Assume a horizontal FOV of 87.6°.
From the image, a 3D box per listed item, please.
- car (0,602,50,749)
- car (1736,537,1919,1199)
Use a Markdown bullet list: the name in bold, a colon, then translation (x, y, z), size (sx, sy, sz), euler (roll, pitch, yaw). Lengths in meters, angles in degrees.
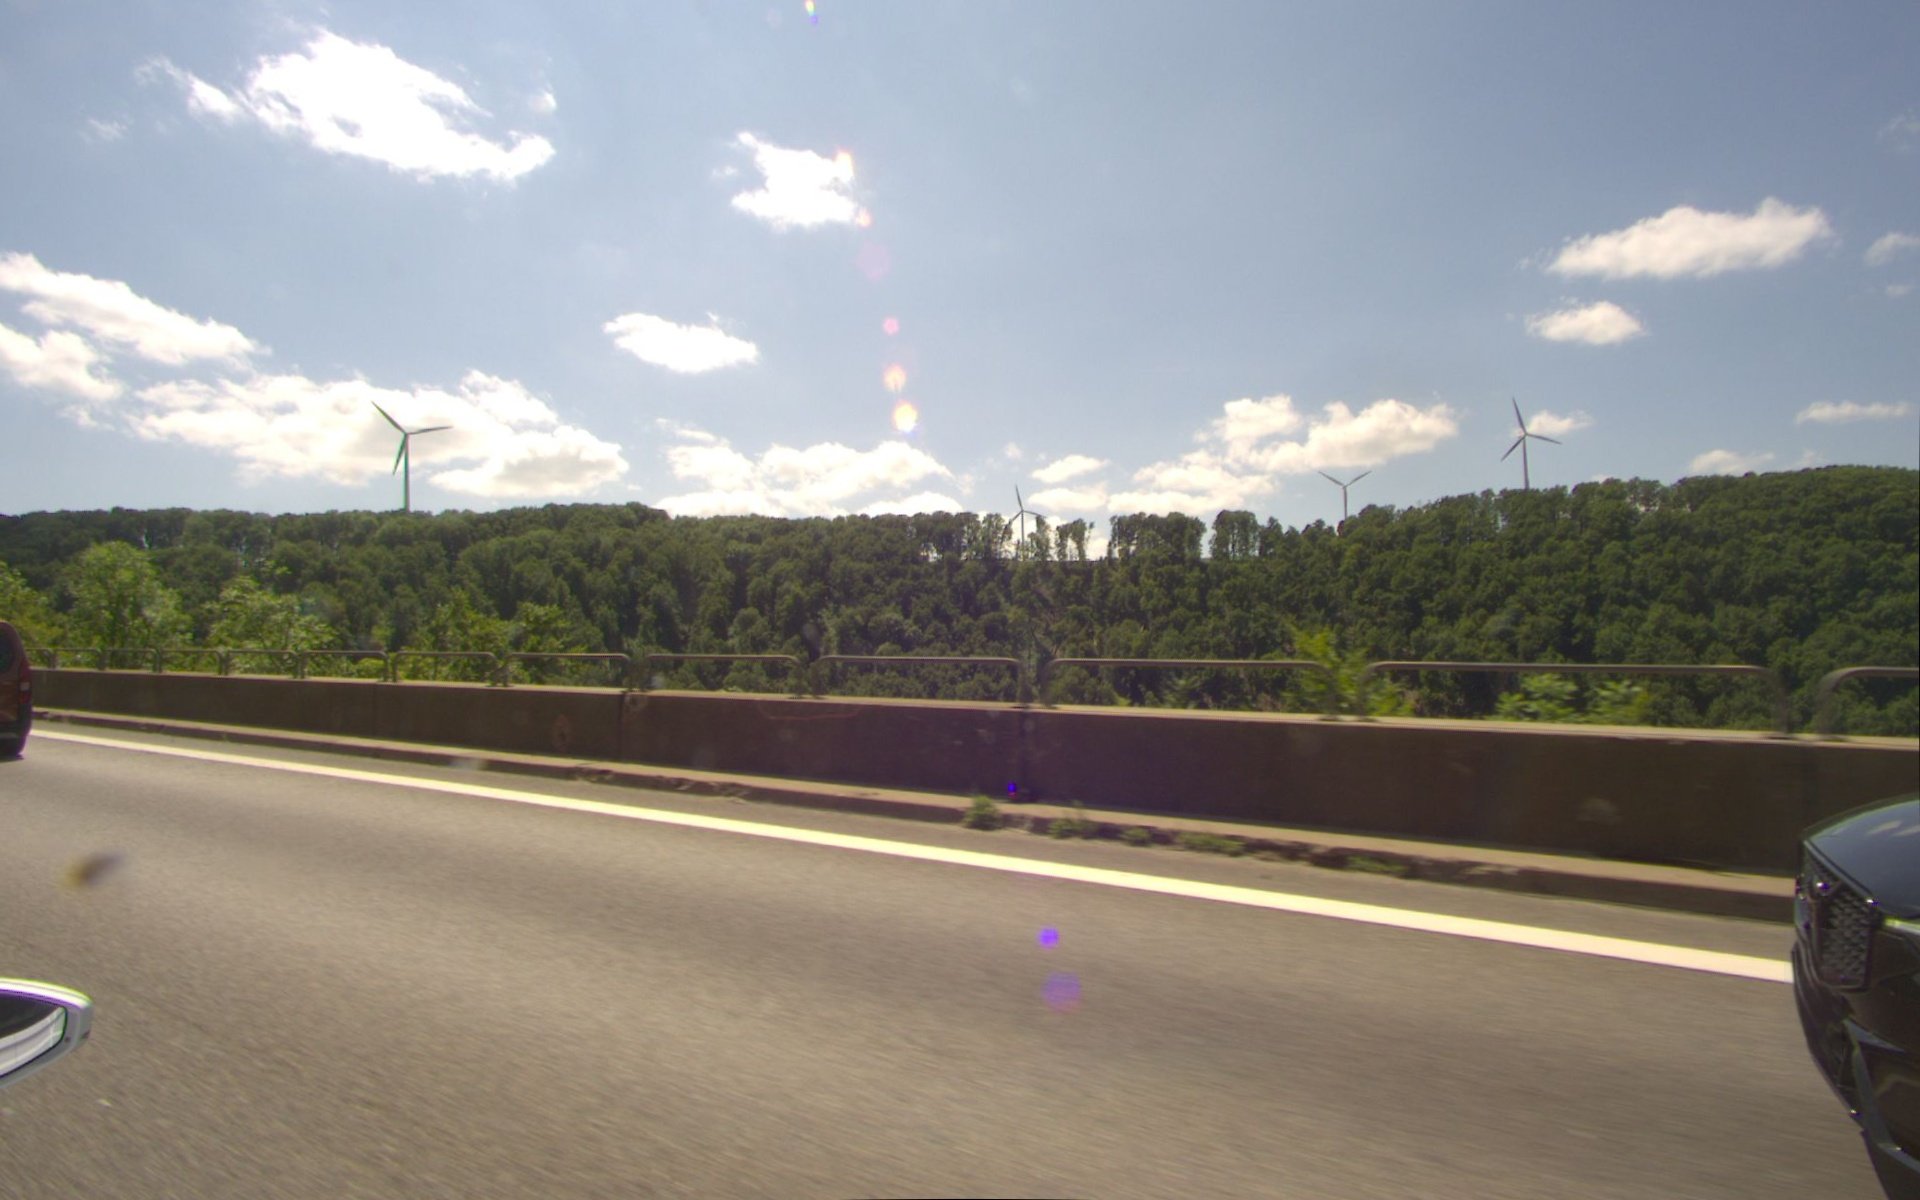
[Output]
- **car**: translation (-14.022, 0.989, 13.204), size (4.609, 1.807, 1.830), euler (-2, -1, 32)
- **car**: translation (4.178, 0.706, 1.477), size (4.595, 1.654, 1.832), euler (-1, -2, 32)
